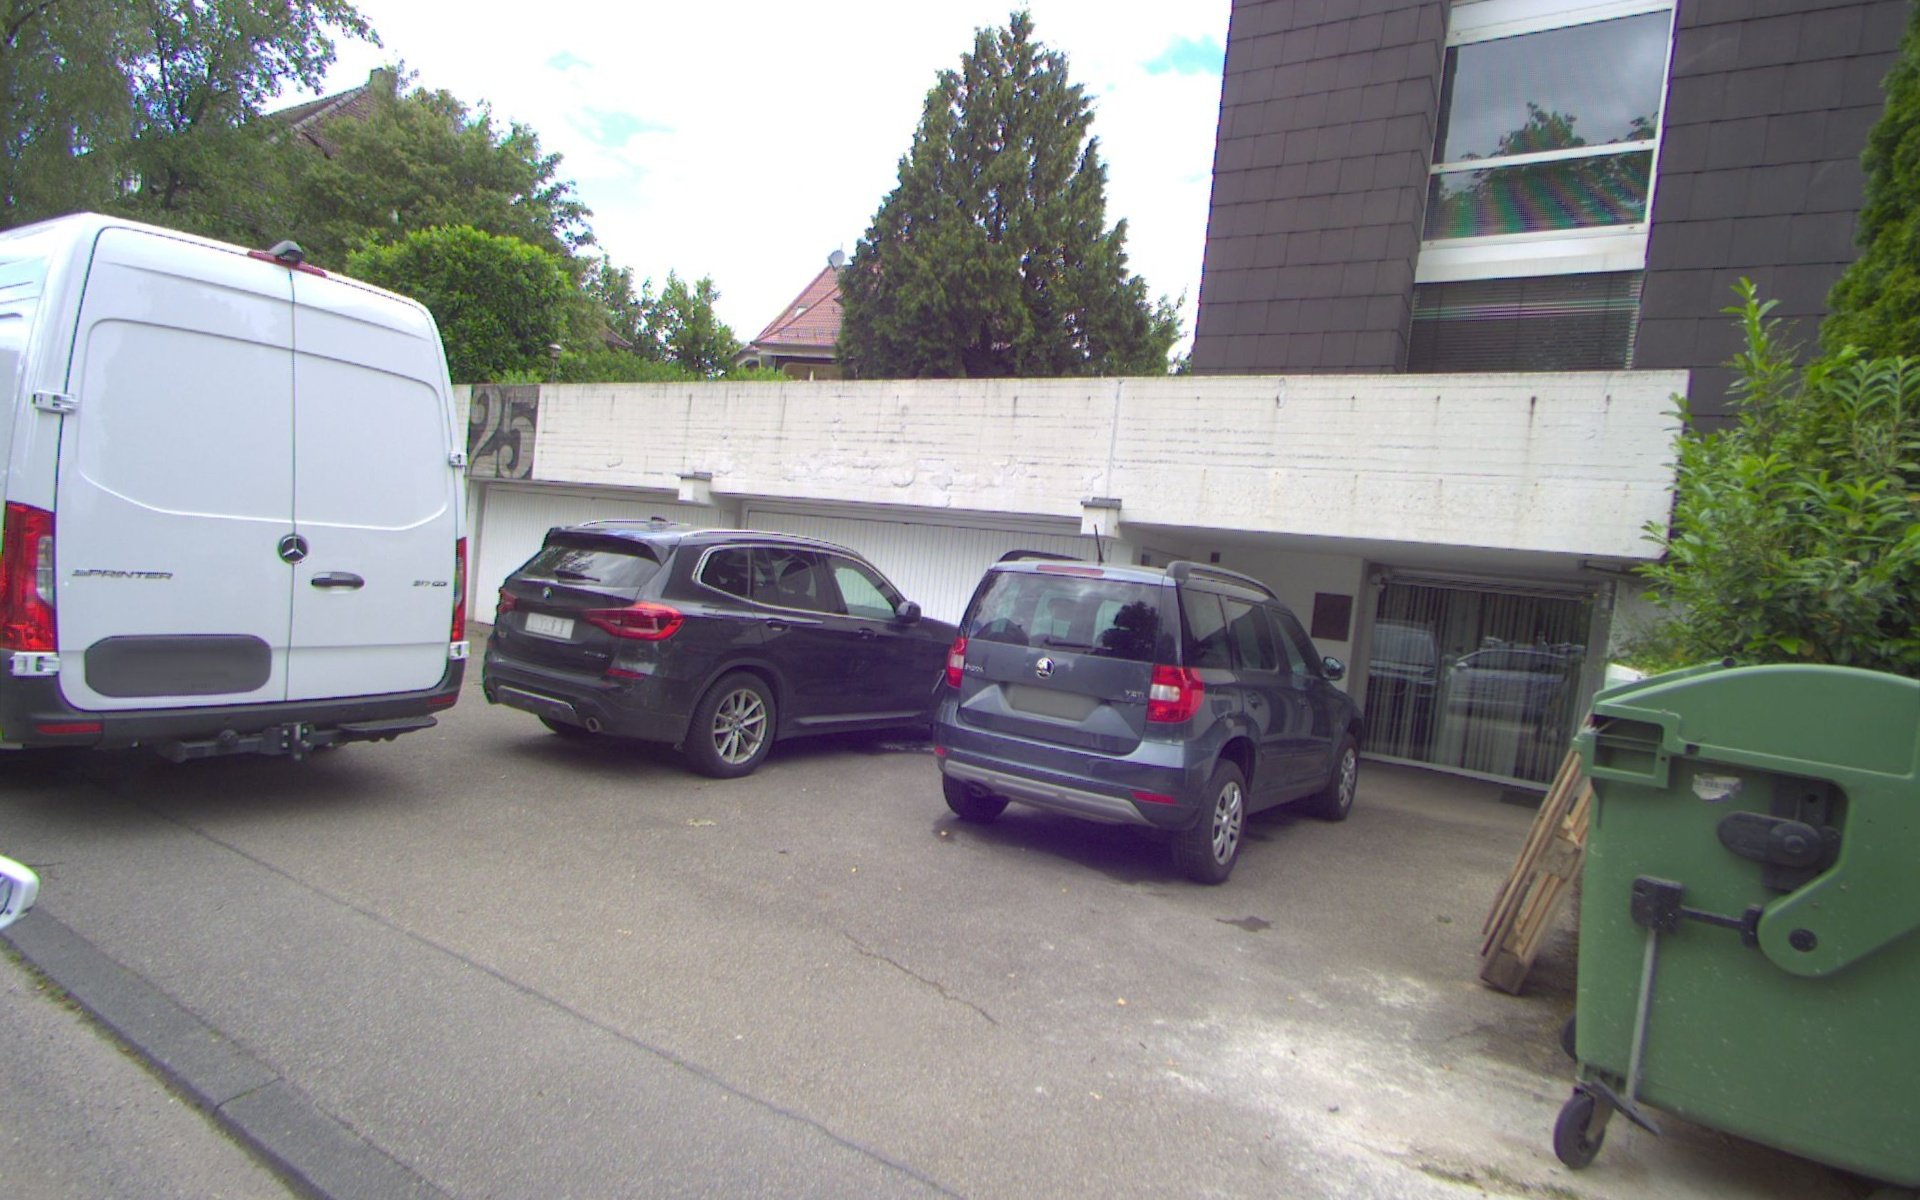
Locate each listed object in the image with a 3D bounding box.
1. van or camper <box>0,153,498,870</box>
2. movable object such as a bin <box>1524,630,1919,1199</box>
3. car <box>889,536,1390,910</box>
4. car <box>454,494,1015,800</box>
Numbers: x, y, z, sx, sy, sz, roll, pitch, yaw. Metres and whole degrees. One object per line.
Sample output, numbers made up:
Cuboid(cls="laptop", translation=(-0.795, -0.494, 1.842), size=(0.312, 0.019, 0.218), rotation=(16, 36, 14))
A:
Cuboid(cls="van or camper", translation=(-5.779, -0.584, 6.272), size=(6.436, 2.662, 1.990), rotation=(6, 4, 32))
Cuboid(cls="movable object such as a bin", translation=(2.403, 0.898, 2.970), size=(1.098, 1.469, 1.405), rotation=(6, 1, 32))
Cuboid(cls="car", translation=(1.479, 0.639, 6.790), size=(1.717, 1.673, 3.899), rotation=(6, 1, 35))
Cuboid(cls="car", translation=(-1.412, 0.318, 8.029), size=(1.668, 1.696, 4.383), rotation=(6, 1, 32))
